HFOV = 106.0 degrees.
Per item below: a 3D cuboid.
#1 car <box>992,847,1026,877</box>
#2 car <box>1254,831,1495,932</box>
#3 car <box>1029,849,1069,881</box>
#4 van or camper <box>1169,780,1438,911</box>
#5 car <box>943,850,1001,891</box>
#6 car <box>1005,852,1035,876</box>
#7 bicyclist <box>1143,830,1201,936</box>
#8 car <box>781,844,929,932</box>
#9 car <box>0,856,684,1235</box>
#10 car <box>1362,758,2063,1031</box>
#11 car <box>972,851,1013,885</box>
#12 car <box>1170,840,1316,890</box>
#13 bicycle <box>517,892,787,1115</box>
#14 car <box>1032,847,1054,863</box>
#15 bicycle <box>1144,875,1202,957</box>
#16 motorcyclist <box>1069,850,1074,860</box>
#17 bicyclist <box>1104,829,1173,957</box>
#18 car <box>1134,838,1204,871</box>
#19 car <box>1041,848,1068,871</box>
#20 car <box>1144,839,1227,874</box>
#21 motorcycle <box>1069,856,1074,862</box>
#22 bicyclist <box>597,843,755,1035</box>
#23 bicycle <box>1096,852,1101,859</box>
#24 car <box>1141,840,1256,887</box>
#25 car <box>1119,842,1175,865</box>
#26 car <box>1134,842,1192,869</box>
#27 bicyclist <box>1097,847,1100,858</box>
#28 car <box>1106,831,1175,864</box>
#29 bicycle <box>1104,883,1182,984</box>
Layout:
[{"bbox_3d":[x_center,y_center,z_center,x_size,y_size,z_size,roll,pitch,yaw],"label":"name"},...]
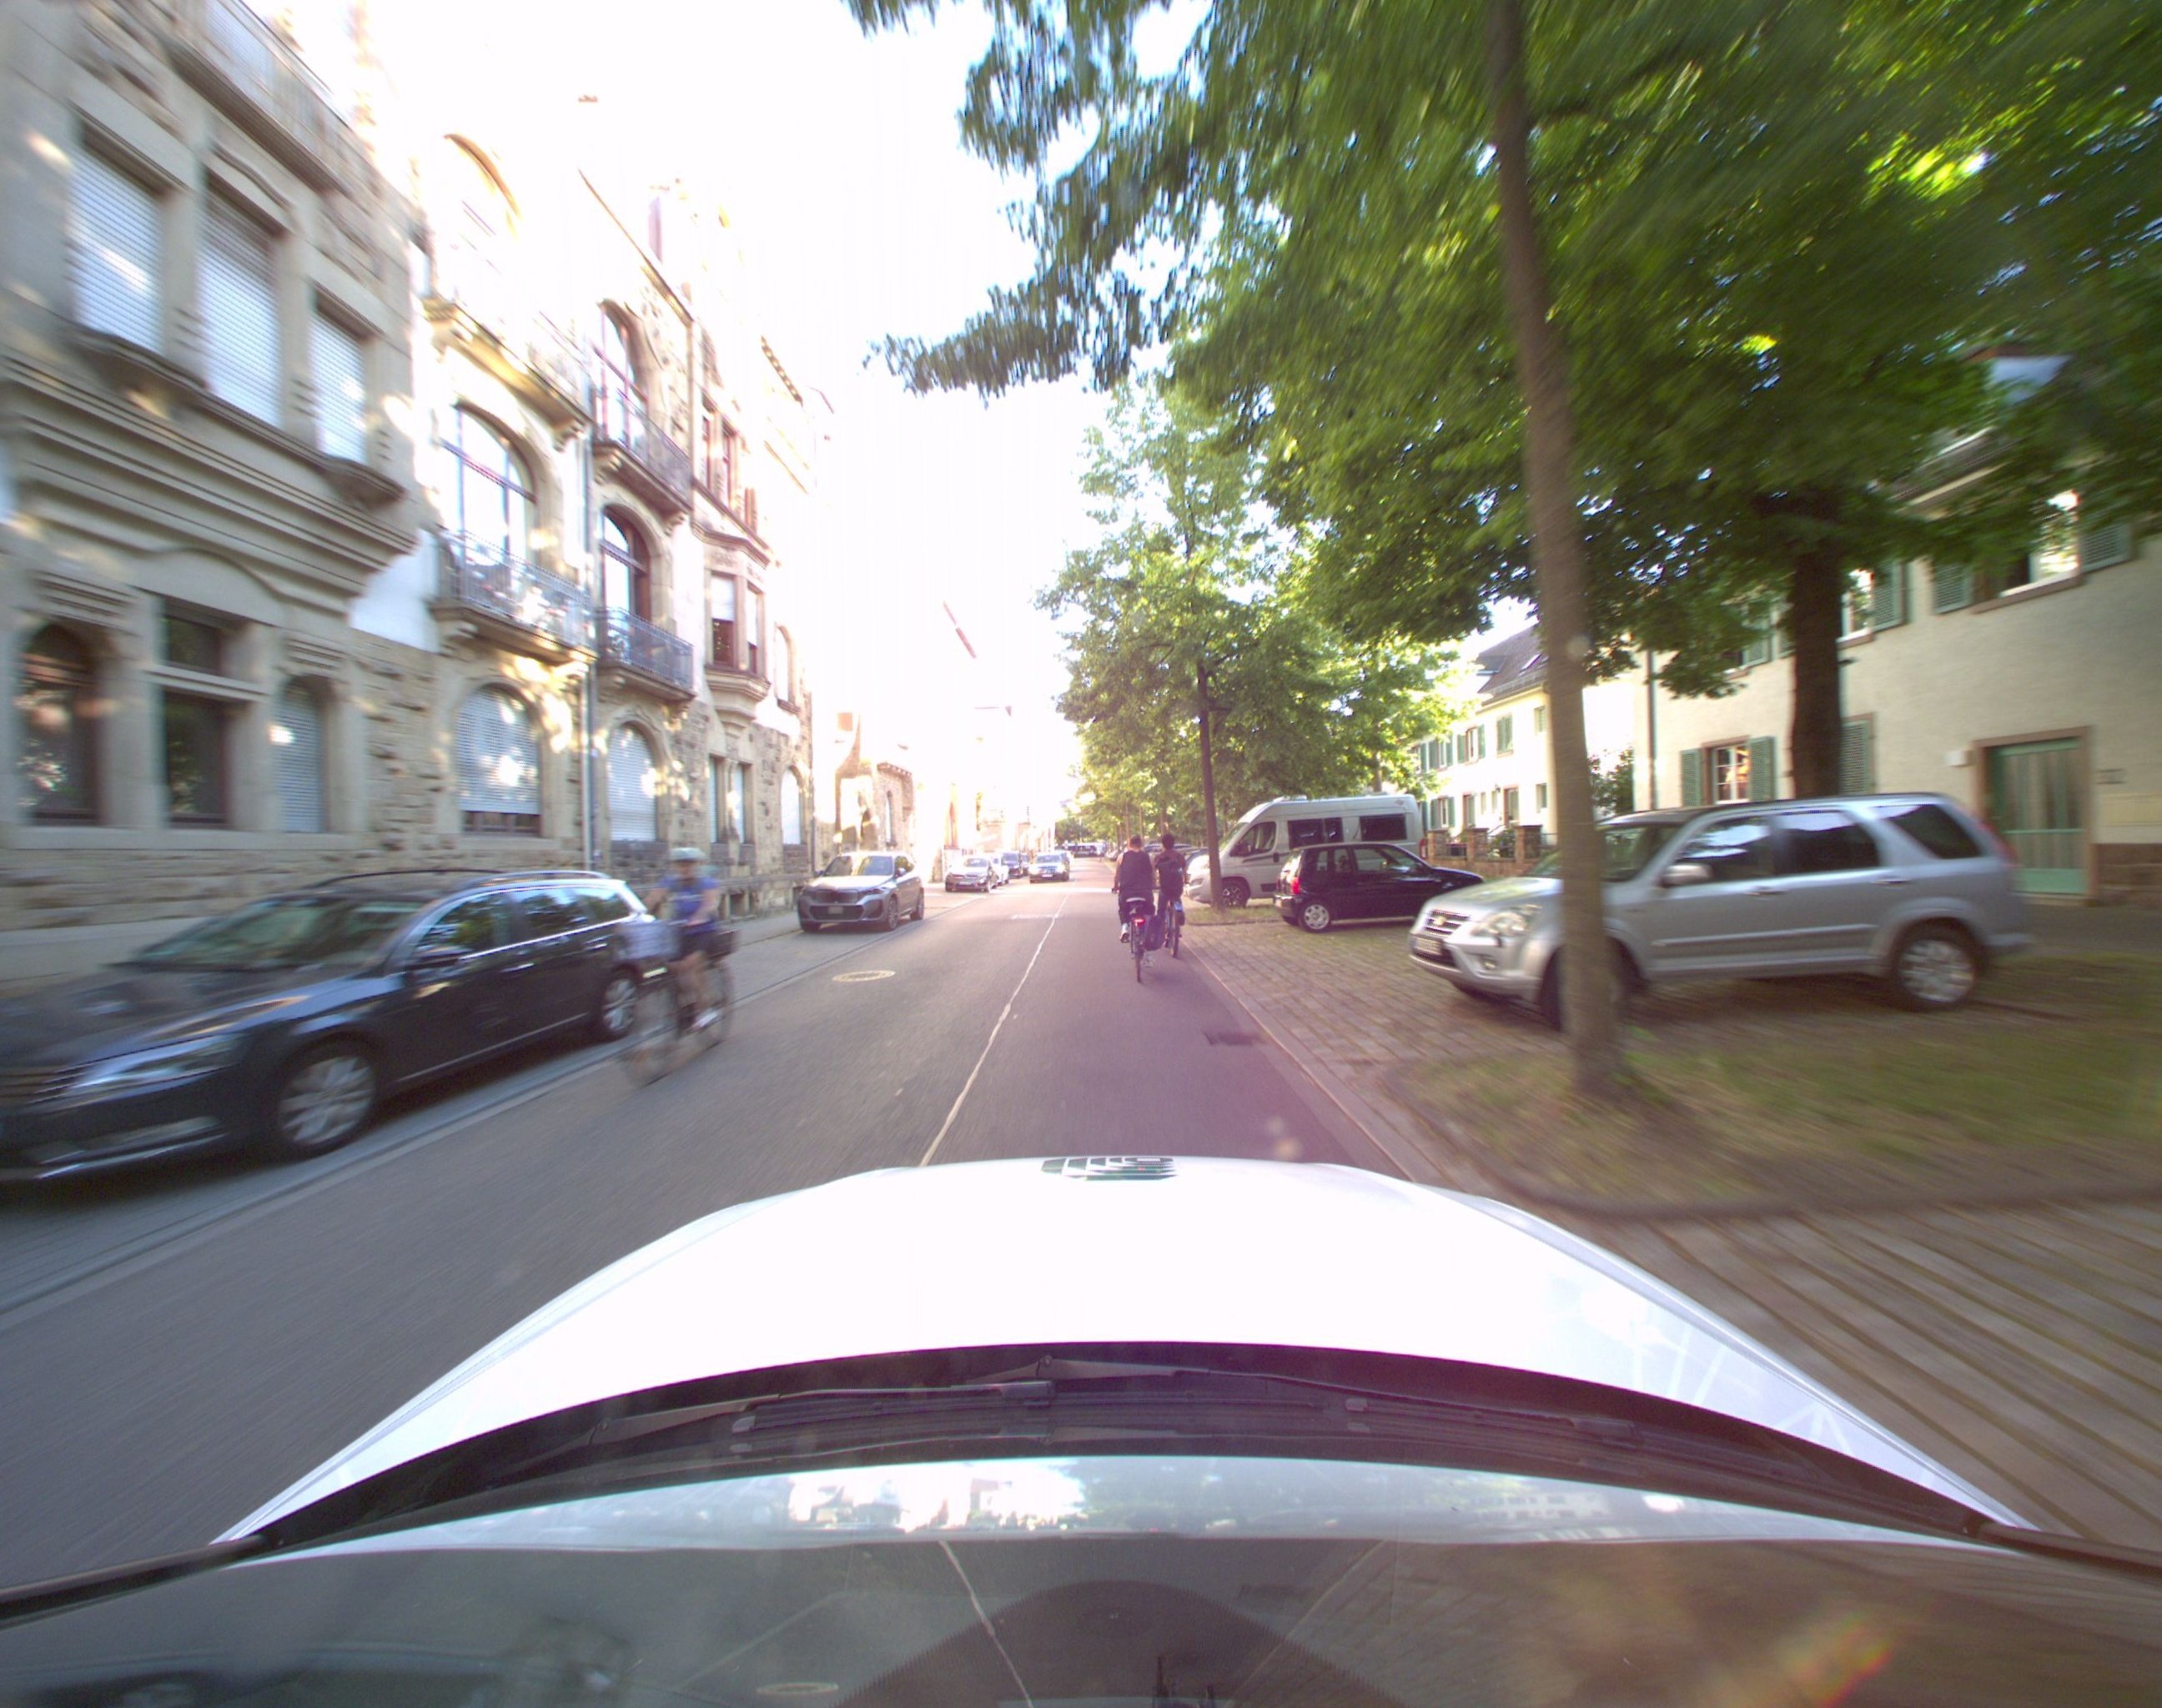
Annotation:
[{"bbox_3d":[-4.277,0.494,48.782,1.626,1.665,3.967,-2,-1,0],"label":"car"},{"bbox_3d":[4.955,0.456,14.094,3.490,1.472,1.751,-3,-1,-1],"label":"car"},{"bbox_3d":[-1.633,0.542,41.438,1.892,1.486,4.378,-2,-1,-2],"label":"car"},{"bbox_3d":[5.065,-0.182,19.159,5.559,2.536,2.267,-4,-1,-2],"label":"van or camper"},{"bbox_3d":[-4.454,0.656,33.925,1.749,1.517,4.115,2,0,1],"label":"car"},{"bbox_3d":[-4.014,0.657,54.228,1.610,1.482,4.019,2,0,1],"label":"car"},{"bbox_3d":[1.356,0.426,12.297,0.716,1.527,0.972,-2,-1,0],"label":"bicyclist"},{"bbox_3d":[-4.725,0.687,17.768,2.044,1.622,4.393,-2,-1,-1],"label":"car"},{"bbox_3d":[-4.920,0.849,5.779,1.723,1.574,4.710,-2,-1,2],"label":"car"},{"bbox_3d":[5.011,0.274,6.958,4.463,1.669,1.941,-4,1,-1],"label":"car"},{"bbox_3d":[-4.238,0.675,39.563,1.486,1.517,3.775,2,0,1],"label":"car"},{"bbox_3d":[5.287,0.361,27.034,4.485,1.453,1.817,-2,-1,1],"label":"car"},{"bbox_3d":[-3.118,0.985,6.338,0.751,1.178,2.618,-3,1,-2],"label":"bicycle"},{"bbox_3d":[-3.761,0.119,81.016,1.987,1.486,3.999,-2,-1,0],"label":"car"},{"bbox_3d":[1.357,0.881,12.295,0.554,1.073,1.967,-2,0,-2],"label":"bicycle"},{"bbox_3d":[-1.324,0.123,114.056,0.549,1.448,0.688,-2,0,-2],"label":"motorcyclist"},{"bbox_3d":[0.711,0.475,10.323,0.704,1.527,0.971,-2,-1,-4],"label":"bicyclist"},{"bbox_3d":[5.532,0.054,51.810,4.227,1.840,1.855,-3,-1,1],"label":"car"},{"bbox_3d":[-1.945,0.407,61.391,1.761,1.599,4.090,-2,0,1],"label":"car"},{"bbox_3d":[5.647,0.129,44.398,4.227,1.647,1.855,-3,-1,1],"label":"car"},{"bbox_3d":[-1.319,0.652,114.070,0.549,0.801,1.307,-2,0,-2],"label":"motorcycle"},{"bbox_3d":[-3.109,0.600,6.361,0.663,1.345,1.059,-3,1,-3],"label":"bicyclist"},{"bbox_3d":[2.258,0.197,104.478,0.539,0.828,1.919,-1,-1,1],"label":"bicycle"},{"bbox_3d":[4.644,0.375,32.518,4.233,1.606,1.752,-3,-1,-3],"label":"car"},{"bbox_3d":[5.846,-0.058,72.437,4.739,1.780,1.855,-3,-1,1],"label":"car"},{"bbox_3d":[6.212,0.127,62.321,4.227,1.797,1.855,-3,-1,1],"label":"car"},{"bbox_3d":[2.268,-0.152,104.521,0.415,1.350,0.430,-2,-1,1],"label":"bicyclist"},{"bbox_3d":[6.505,-0.689,89.149,7.305,3.282,2.224,-3,-1,1],"label":"car"},{"bbox_3d":[0.727,0.931,10.185,0.694,1.073,1.966,-2,-1,-3],"label":"bicycle"}]
